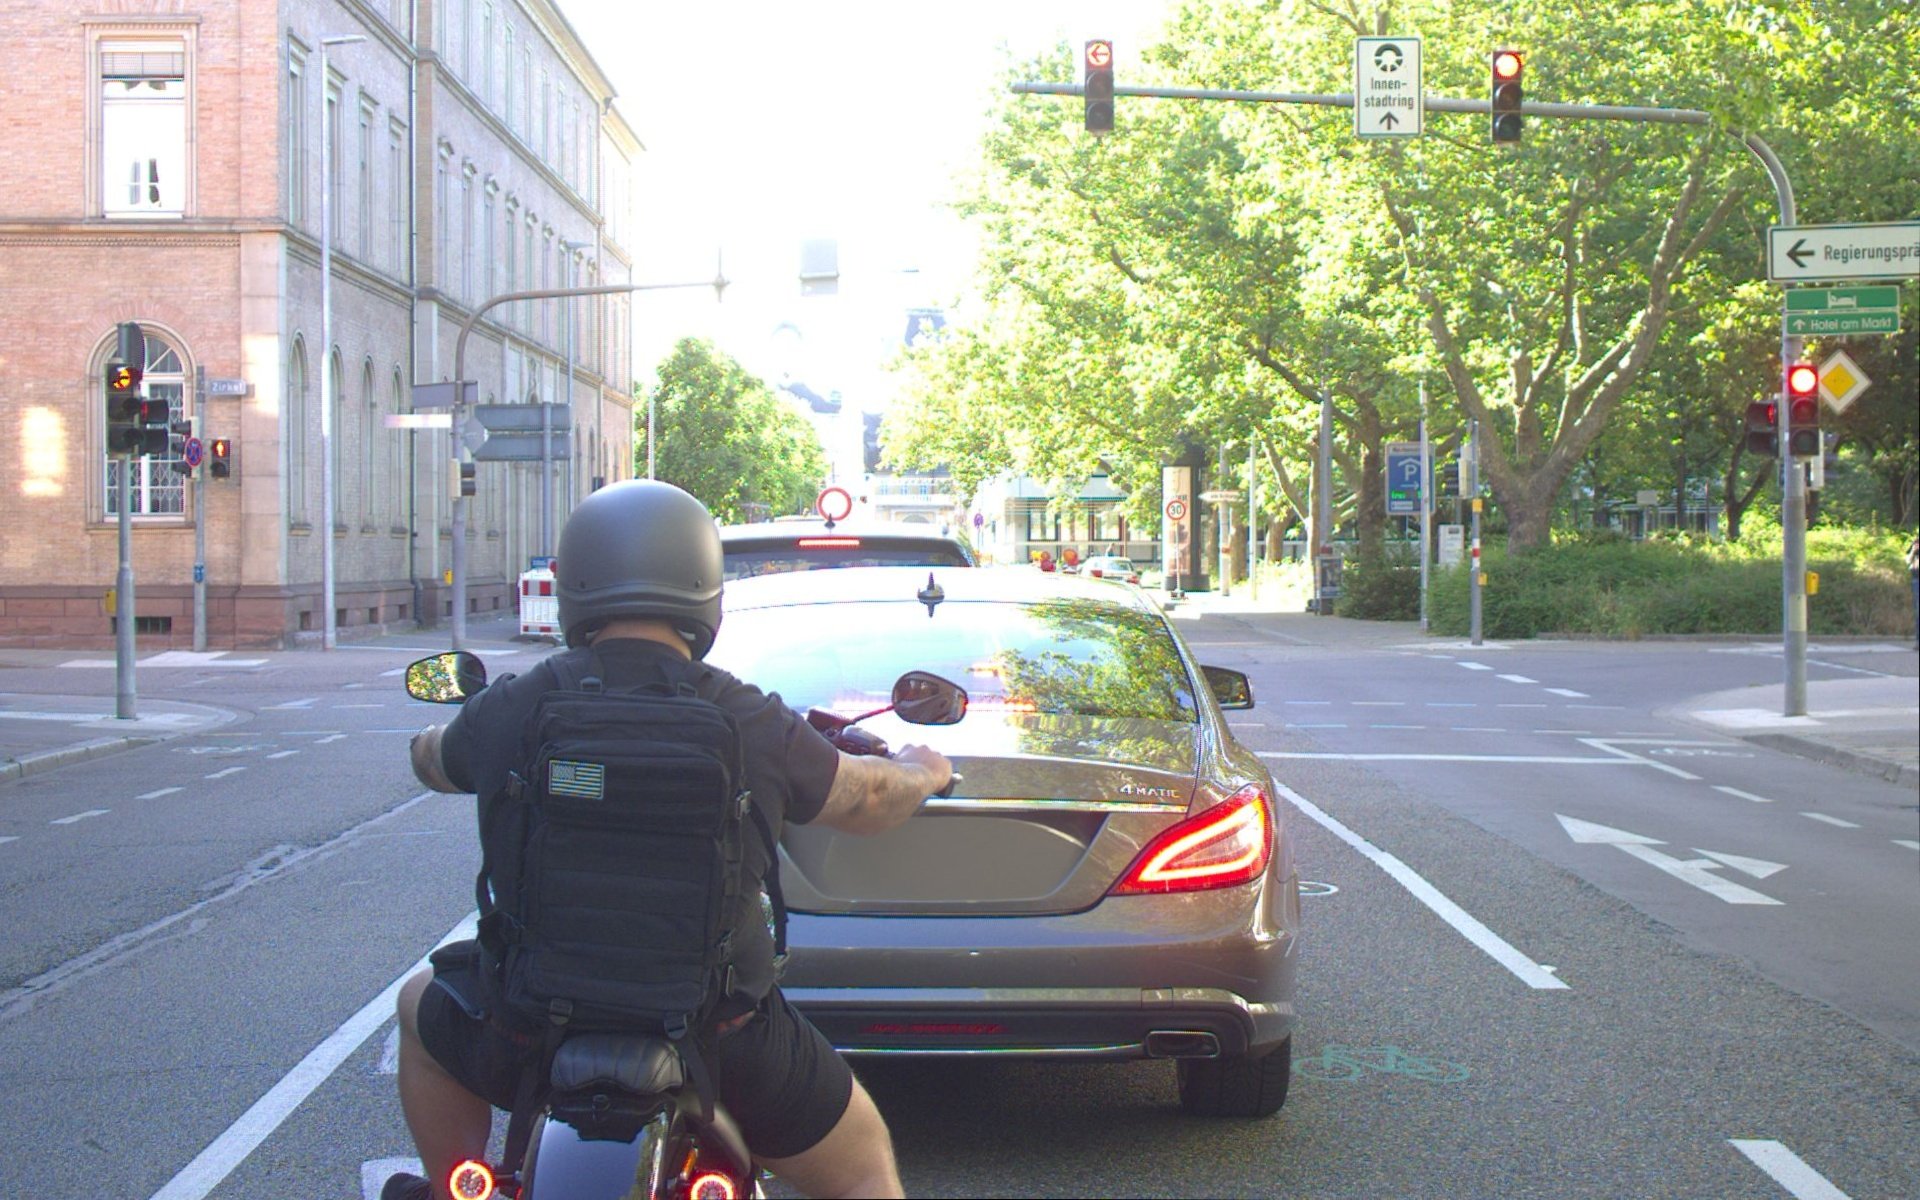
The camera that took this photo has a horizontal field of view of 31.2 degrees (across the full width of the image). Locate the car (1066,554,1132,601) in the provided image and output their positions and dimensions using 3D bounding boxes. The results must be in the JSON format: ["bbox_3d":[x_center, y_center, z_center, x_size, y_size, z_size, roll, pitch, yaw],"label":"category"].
[{"bbox_3d":[3.869,-0.628,96.049,1.631,1.255,3.716,1,1,-1],"label":"car"}]

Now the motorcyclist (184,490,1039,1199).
[{"bbox_3d":[-0.480,0.630,5.279,1.099,1.560,1.071,1,0,6],"label":"motorcyclist"}]

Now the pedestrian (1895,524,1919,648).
[{"bbox_3d":[13.912,-0.199,49.410,0.737,1.772,0.728,1,0,30],"label":"pedestrian"}]

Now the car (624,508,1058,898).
[{"bbox_3d":[-0.542,0.428,16.944,1.863,1.672,4.000,1,1,-1],"label":"car"}]

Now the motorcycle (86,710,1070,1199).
[{"bbox_3d":[-0.466,0.833,5.502,1.118,1.203,2.212,1,1,6],"label":"motorcycle"}]

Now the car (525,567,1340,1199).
[{"bbox_3d":[-0.083,0.635,9.667,1.822,1.432,3.806,1,1,-1],"label":"car"}]
